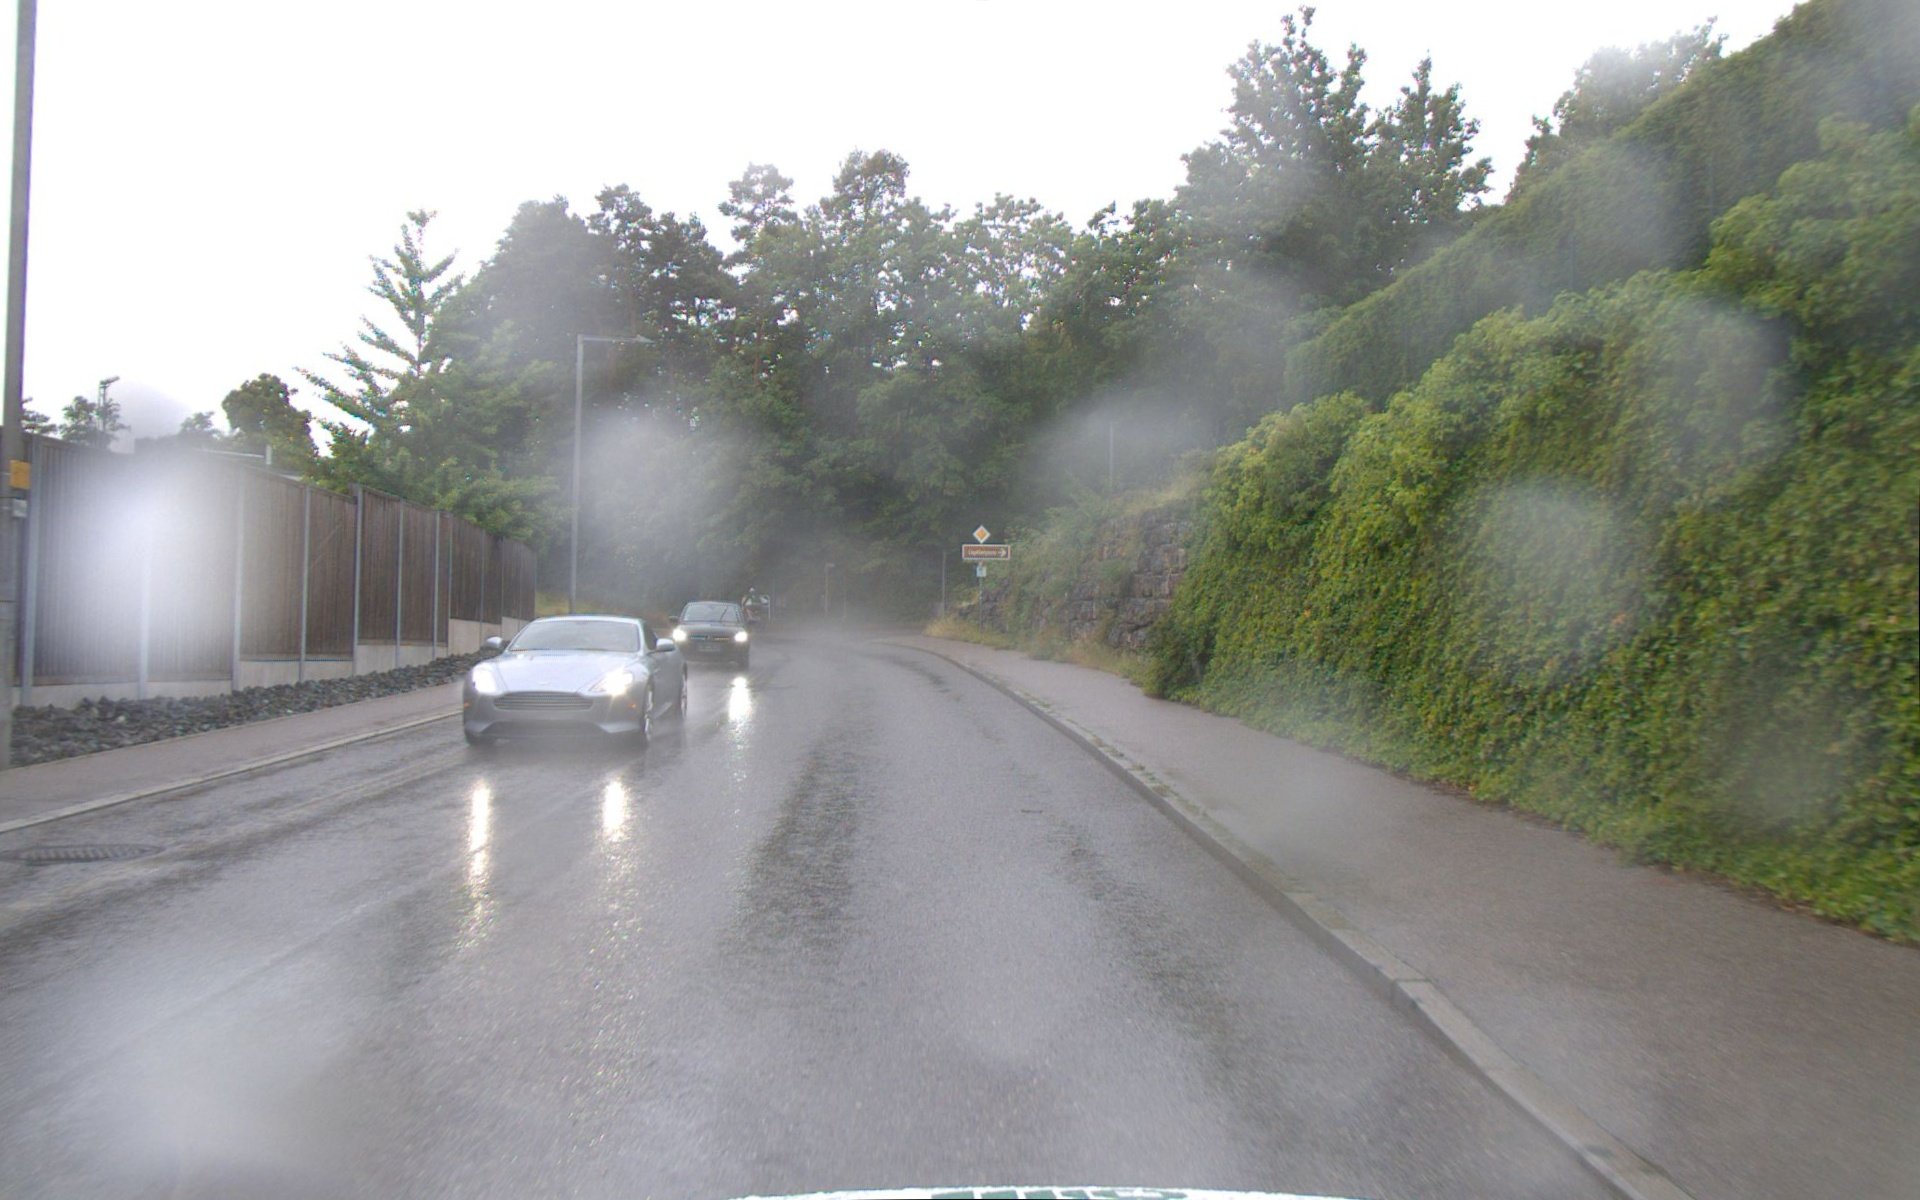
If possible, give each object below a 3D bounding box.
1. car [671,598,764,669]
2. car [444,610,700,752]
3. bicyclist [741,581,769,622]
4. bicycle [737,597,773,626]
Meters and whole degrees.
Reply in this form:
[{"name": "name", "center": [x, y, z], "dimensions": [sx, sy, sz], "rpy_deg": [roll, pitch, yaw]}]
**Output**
[{"name": "car", "center": [-5.359, 0.703, 36.989], "dimensions": [1.845, 1.475, 4.204], "rpy_deg": [1, 0, -6]}, {"name": "car", "center": [-4.029, 0.787, 17.885], "dimensions": [1.843, 1.305, 4.207], "rpy_deg": [1, 0, -2]}, {"name": "bicyclist", "center": [-8.309, 0.059, 67.056], "dimensions": [0.717, 1.643, 0.890], "rpy_deg": [2, 0, -45]}, {"name": "bicycle", "center": [-8.308, 0.475, 67.069], "dimensions": [1.593, 1.104, 0.525], "rpy_deg": [2, 0, 44]}]
